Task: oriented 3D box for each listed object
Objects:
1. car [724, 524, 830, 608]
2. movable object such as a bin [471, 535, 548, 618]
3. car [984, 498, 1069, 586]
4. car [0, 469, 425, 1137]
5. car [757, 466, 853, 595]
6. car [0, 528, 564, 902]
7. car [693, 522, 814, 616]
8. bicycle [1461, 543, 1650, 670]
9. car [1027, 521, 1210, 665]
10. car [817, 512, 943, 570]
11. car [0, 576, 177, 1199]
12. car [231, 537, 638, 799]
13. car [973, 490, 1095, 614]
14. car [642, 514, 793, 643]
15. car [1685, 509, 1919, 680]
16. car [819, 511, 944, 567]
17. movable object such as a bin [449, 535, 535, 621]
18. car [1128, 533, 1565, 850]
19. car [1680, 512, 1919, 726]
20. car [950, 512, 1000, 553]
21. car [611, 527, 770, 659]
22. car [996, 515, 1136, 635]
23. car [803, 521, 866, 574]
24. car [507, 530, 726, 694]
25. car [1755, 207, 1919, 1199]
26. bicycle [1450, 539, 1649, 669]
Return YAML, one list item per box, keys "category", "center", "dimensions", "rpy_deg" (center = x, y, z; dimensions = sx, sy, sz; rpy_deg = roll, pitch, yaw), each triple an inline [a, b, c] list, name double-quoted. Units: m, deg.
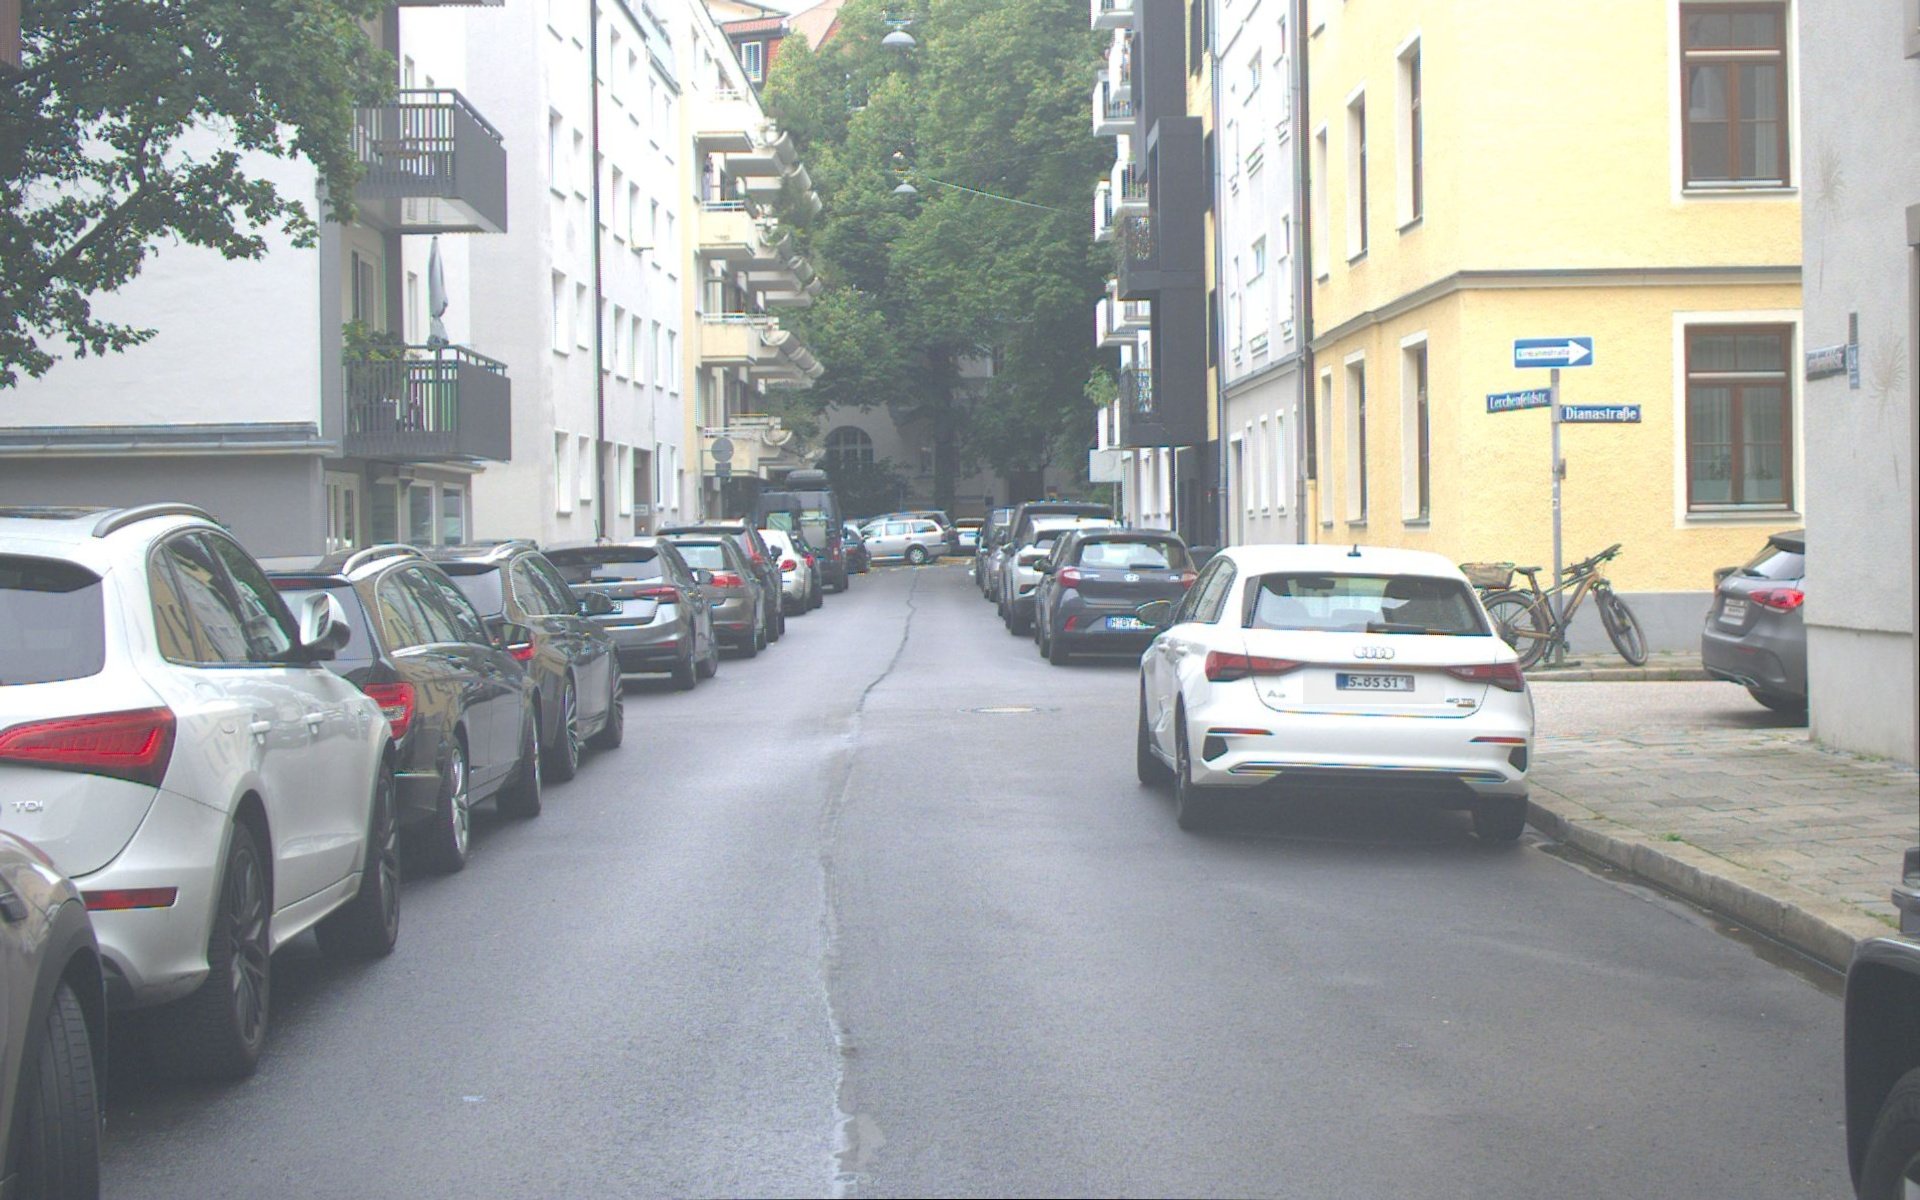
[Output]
- category: "car"
  center: [-3.447, -0.671, 65.327]
  dimensions: [1.777, 1.448, 4.046]
  rpy_deg: [-3, 1, -1]
- category: "movable object such as a bin"
  center: [-7.519, -0.399, 57.450]
  dimensions: [1.047, 1.332, 0.993]
  rpy_deg: [-3, 1, 2]
- category: "car"
  center: [1.577, -1.403, 82.923]
  dimensions: [1.829, 1.992, 4.416]
  rpy_deg: [2, 1, -1]
- category: "car"
  center: [-2.877, 0.495, 10.824]
  dimensions: [1.765, 1.669, 4.368]
  rpy_deg: [-1, 1, -1]
- category: "car"
  center: [-3.572, -1.619, 79.929]
  dimensions: [1.936, 2.792, 4.533]
  rpy_deg: [-3, 1, -1]
- category: "car"
  center: [-3.079, 0.434, 16.538]
  dimensions: [1.766, 1.478, 4.424]
  rpy_deg: [-1, 2, 1]
- category: "car"
  center: [-3.575, -0.574, 60.179]
  dimensions: [1.777, 1.482, 4.519]
  rpy_deg: [-3, 1, 0]
- category: "bicycle"
  center: [5.676, 0.056, 32.800]
  dimensions: [1.713, 1.135, 0.374]
  rpy_deg: [-2, 3, -1]
- category: "car"
  center: [1.726, -0.125, 38.735]
  dimensions: [1.751, 1.464, 4.343]
  rpy_deg: [2, 1, -1]
- category: "car"
  center: [-2.526, -1.866, 108.503]
  dimensions: [3.885, 1.579, 1.648]
  rpy_deg: [-3, 1, -1]
- category: "car"
  center: [-2.567, 0.713, 5.729]
  dimensions: [1.652, 1.431, 3.803]
  rpy_deg: [-1, 1, 0]
- category: "car"
  center: [-3.191, 0.347, 21.717]
  dimensions: [1.856, 1.403, 4.383]
  rpy_deg: [-2, 1, 0]
- category: "car"
  center: [1.166, -0.810, 56.040]
  dimensions: [1.829, 1.903, 4.416]
  rpy_deg: [1, 1, -1]
- category: "car"
  center: [-3.268, -0.331, 47.086]
  dimensions: [1.776, 1.623, 4.415]
  rpy_deg: [-2, 1, -1]
- category: "car"
  center: [8.896, -0.071, 31.221]
  dimensions: [4.211, 1.488, 1.712]
  rpy_deg: [-1, 0, -2]
- category: "car"
  center: [-2.518, -1.966, 110.465]
  dimensions: [3.885, 1.579, 1.648]
  rpy_deg: [-3, 1, -1]
- category: "movable object such as a bin"
  center: [-7.661, -0.363, 56.373]
  dimensions: [1.166, 1.332, 1.025]
  rpy_deg: [-3, 1, 2]
- category: "car"
  center: [1.945, 0.401, 18.436]
  dimensions: [1.819, 1.403, 3.953]
  rpy_deg: [0, 3, -1]
- category: "car"
  center: [7.551, 0.083, 24.859]
  dimensions: [4.203, 1.395, 2.001]
  rpy_deg: [-1, 3, -3]
- category: "car"
  center: [0.530, -2.489, 125.576]
  dimensions: [1.642, 1.379, 3.746]
  rpy_deg: [-3, 1, -1]
- category: "car"
  center: [-3.186, -0.123, 41.261]
  dimensions: [1.693, 1.437, 3.978]
  rpy_deg: [-2, 1, -2]
- category: "car"
  center: [1.449, -0.394, 48.611]
  dimensions: [1.682, 1.562, 4.416]
  rpy_deg: [2, 1, -2]
- category: "car"
  center: [-3.585, -1.522, 98.602]
  dimensions: [1.642, 1.379, 3.483]
  rpy_deg: [-3, 1, -1]
- category: "car"
  center: [-3.279, 0.074, 33.467]
  dimensions: [1.693, 1.437, 3.942]
  rpy_deg: [-2, 1, 0]
- category: "car"
  center: [2.312, 0.480, 3.539]
  dimensions: [1.750, 1.968, 4.344]
  rpy_deg: [2, 1, -3]
- category: "bicycle"
  center: [5.709, 0.031, 33.321]
  dimensions: [1.808, 1.170, 0.505]
  rpy_deg: [-2, 3, -2]
